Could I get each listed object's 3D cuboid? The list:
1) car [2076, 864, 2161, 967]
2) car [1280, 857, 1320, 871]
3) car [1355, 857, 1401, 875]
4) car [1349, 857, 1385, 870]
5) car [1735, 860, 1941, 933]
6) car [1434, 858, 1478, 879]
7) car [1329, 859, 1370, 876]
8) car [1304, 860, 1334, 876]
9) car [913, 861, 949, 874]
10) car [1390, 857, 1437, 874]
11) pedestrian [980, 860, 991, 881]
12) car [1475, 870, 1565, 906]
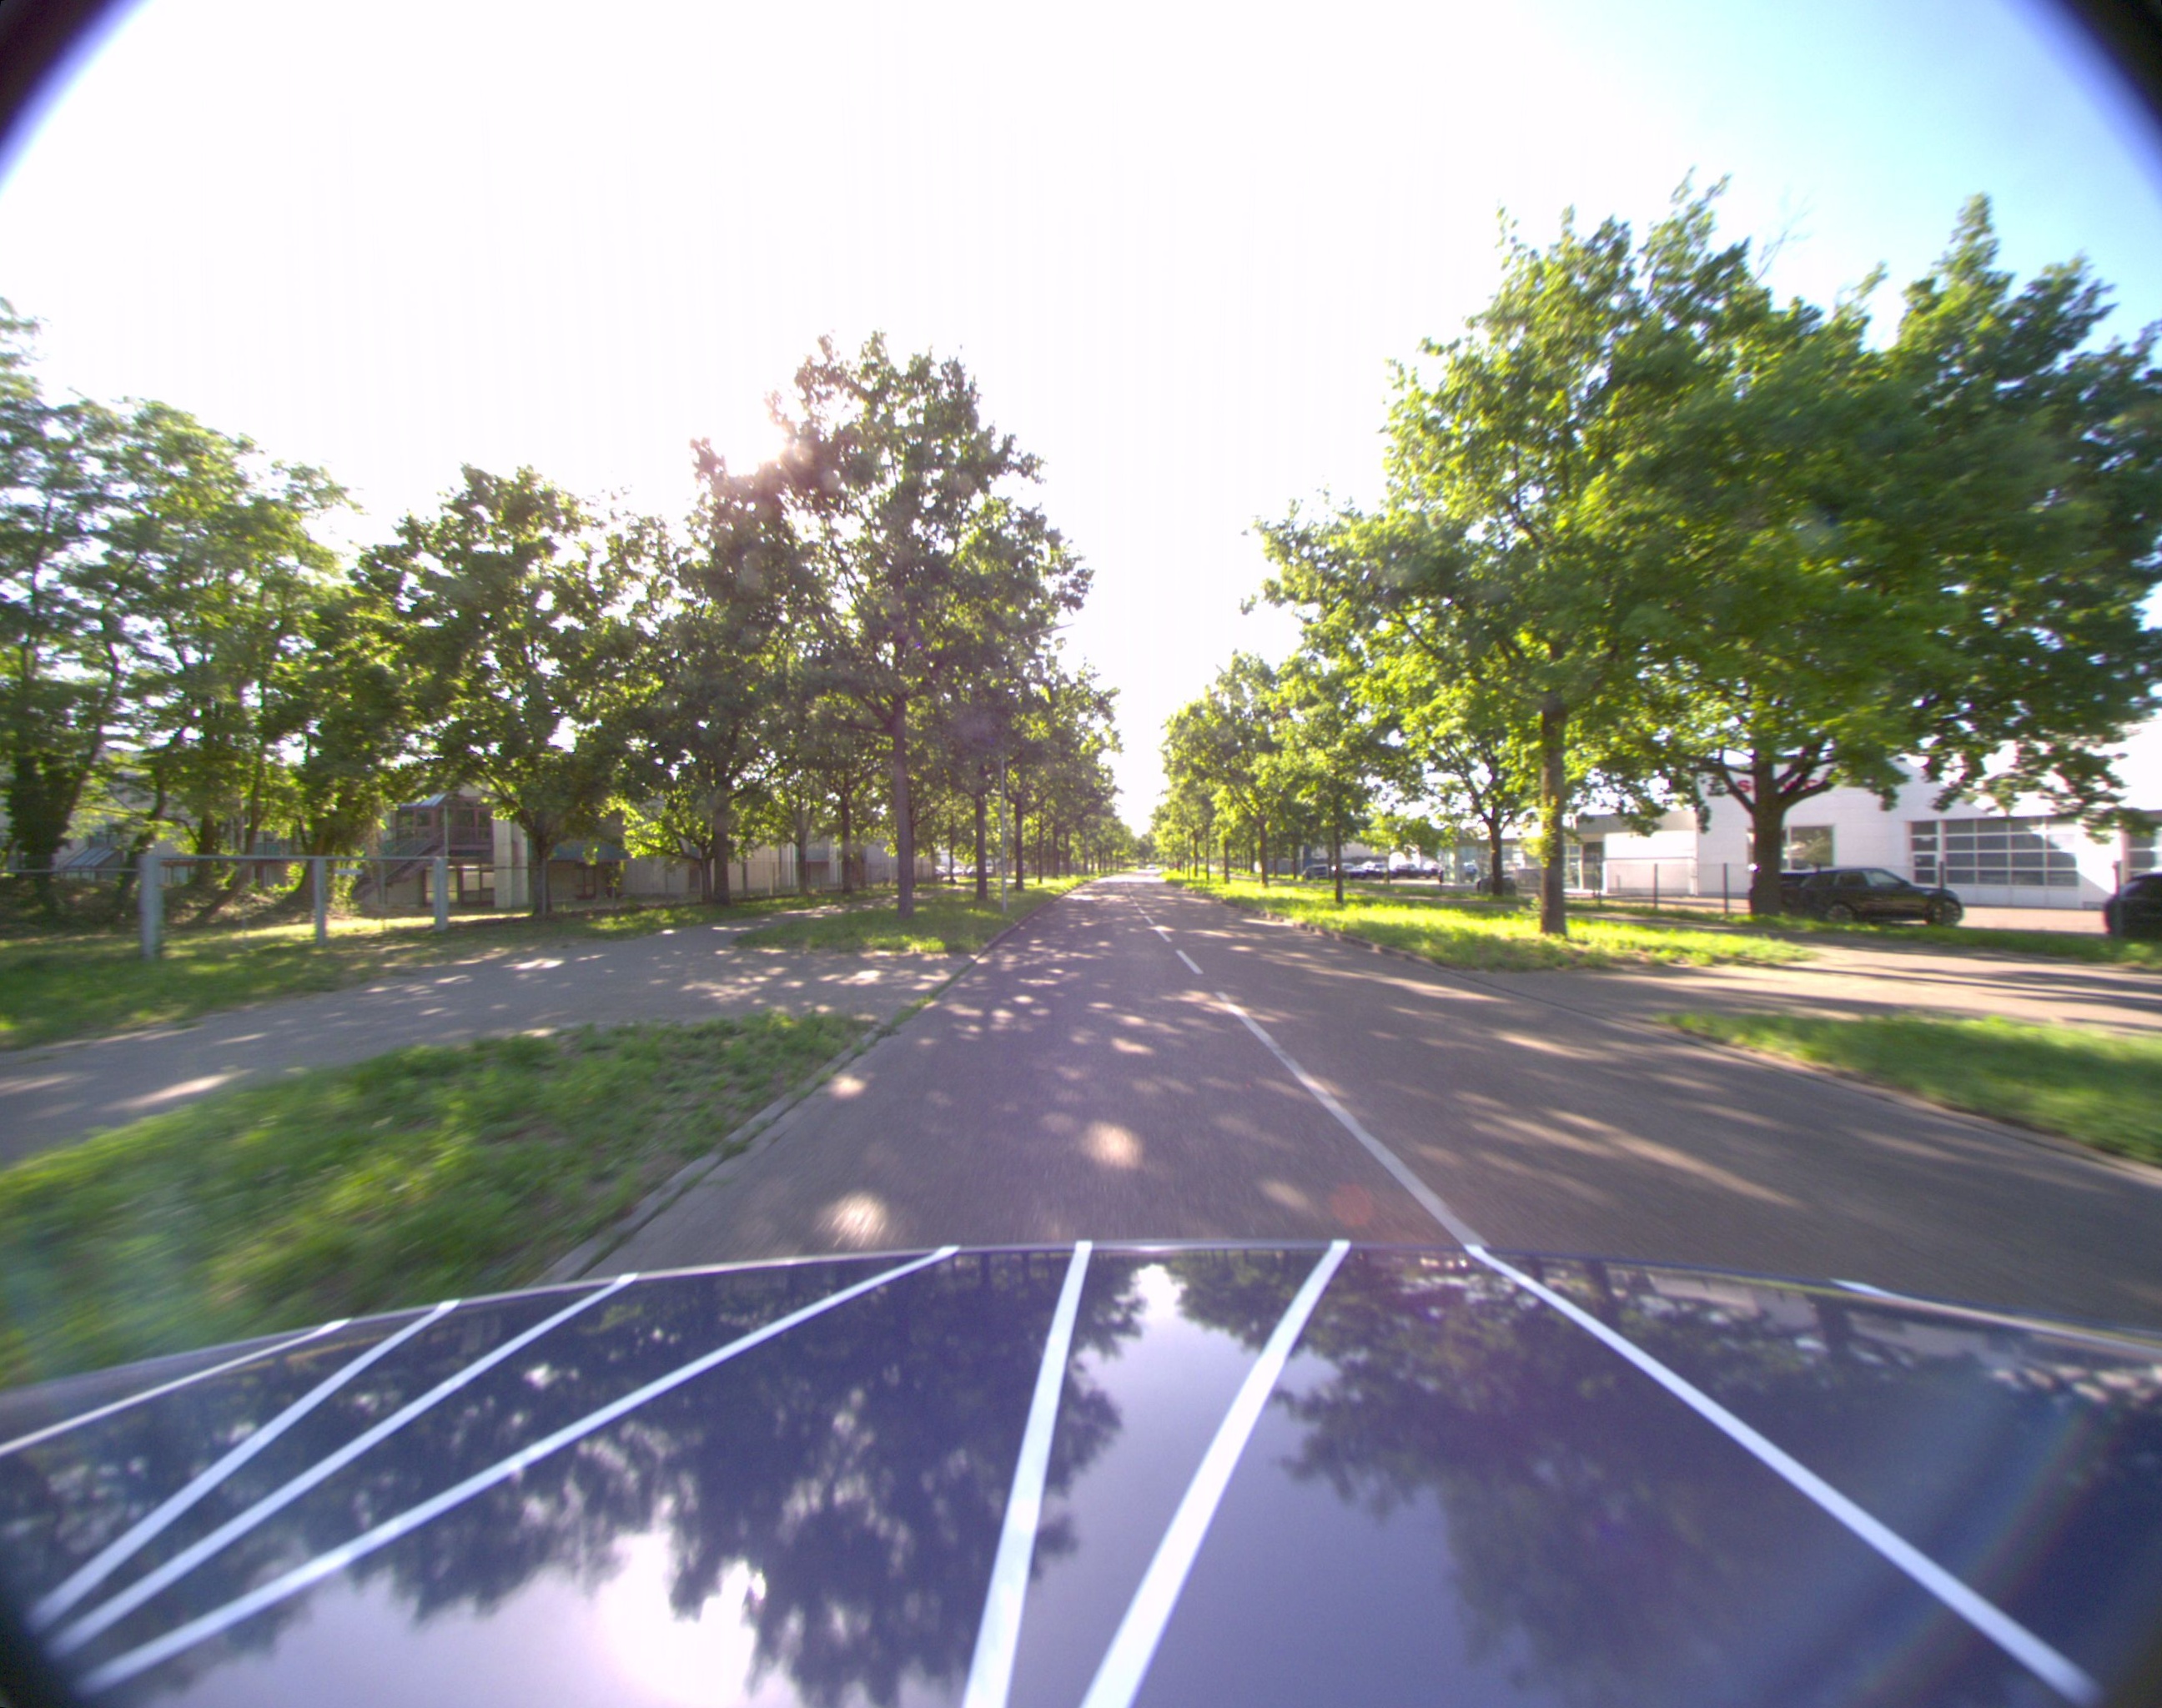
[{"bbox_3d":[21.765,1.075,14.036,4.201,1.791,2.000,-3,0,-2],"label":"car"},{"bbox_3d":[26.561,1.169,92.192,4.319,1.509,1.863,-3,0,7],"label":"car"},{"bbox_3d":[31.047,1.238,79.543,2.000,1.707,5.255,-3,0,-10],"label":"car"},{"bbox_3d":[36.753,1.191,97.802,3.995,1.509,1.752,-3,0,7],"label":"car"},{"bbox_3d":[21.639,1.168,21.828,3.998,1.791,1.999,-3,0,-4],"label":"car"},{"bbox_3d":[32.349,1.252,65.490,1.995,1.650,5.271,-3,-2,43],"label":"car"},{"bbox_3d":[28.057,1.376,79.579,2.000,1.665,4.495,-3,0,-11],"label":"car"},{"bbox_3d":[22.100,1.297,70.642,2.569,1.461,1.428,-1,0,21],"label":"car"},{"bbox_3d":[-22.972,2.022,116.196,5.075,1.947,1.895,0,0,1],"label":"car"},{"bbox_3d":[34.527,1.186,79.090,2.000,1.679,5.256,-3,0,-8],"label":"car"},{"bbox_3d":[-7.412,1.273,58.992,0.609,1.621,0.719,1,0,5],"label":"pedestrian"},{"bbox_3d":[23.270,1.768,40.539,1.998,1.588,5.016,-3,0,3],"label":"car"}]
